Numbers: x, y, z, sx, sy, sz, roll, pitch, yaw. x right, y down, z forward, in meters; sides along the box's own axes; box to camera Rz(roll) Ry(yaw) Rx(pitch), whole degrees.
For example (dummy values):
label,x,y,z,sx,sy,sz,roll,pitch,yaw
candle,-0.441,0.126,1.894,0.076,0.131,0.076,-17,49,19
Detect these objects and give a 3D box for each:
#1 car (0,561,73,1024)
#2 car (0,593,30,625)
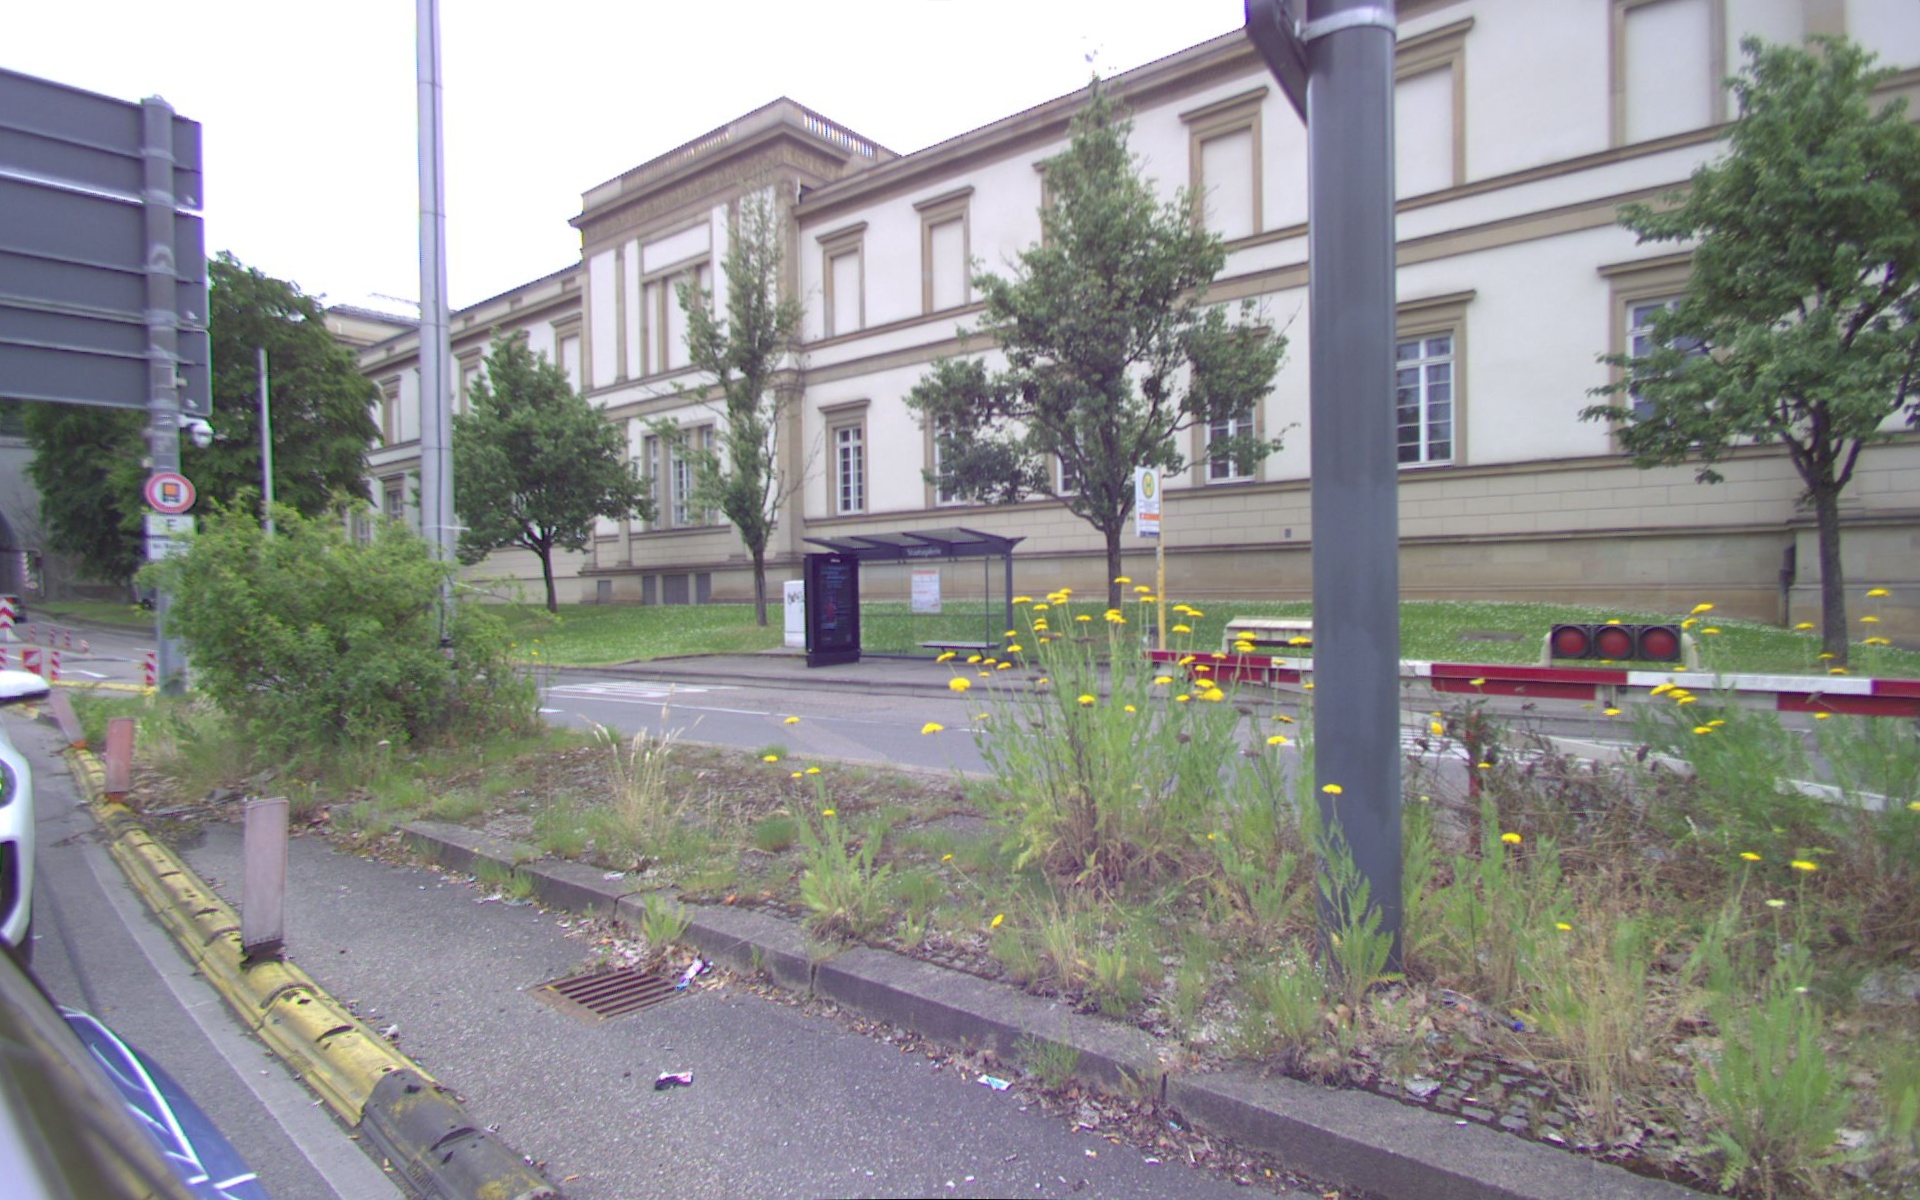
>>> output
label,x,y,z,sx,sy,sz,roll,pitch,yaw
car,-5.282,0.694,4.186,3.669,1.637,1.962,0,0,41
car,-54.563,0.501,57.889,4.002,1.759,1.811,0,0,44
